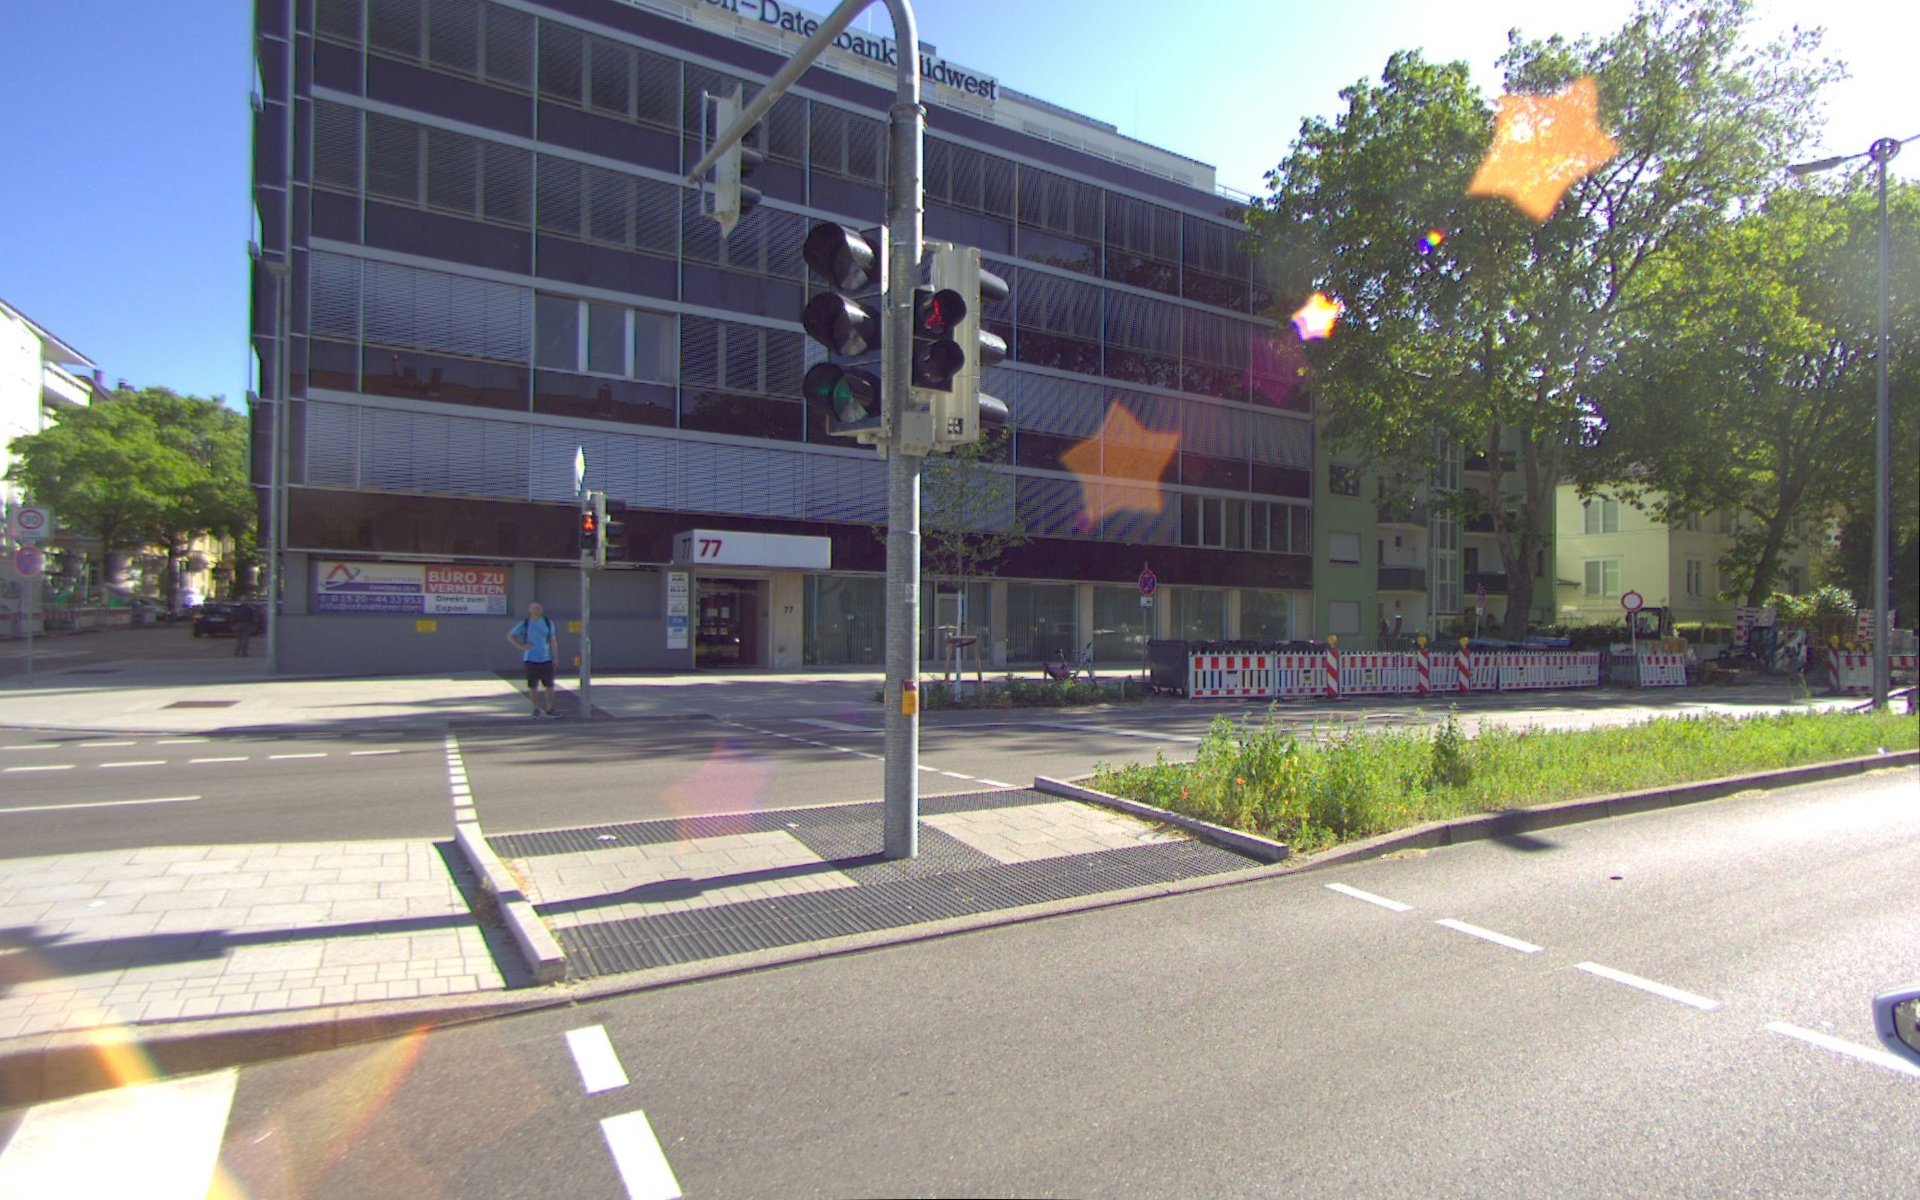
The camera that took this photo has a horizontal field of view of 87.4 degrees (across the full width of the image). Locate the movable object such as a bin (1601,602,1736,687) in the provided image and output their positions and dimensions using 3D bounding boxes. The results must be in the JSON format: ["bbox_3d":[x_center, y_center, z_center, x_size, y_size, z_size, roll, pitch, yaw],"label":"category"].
[{"bbox_3d":[24.685,1.514,34.945,5.299,2.742,2.133,1,-1,-34],"label":"movable object such as a bin"}]

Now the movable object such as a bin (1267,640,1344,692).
[{"bbox_3d":[8.730,1.646,25.397,1.225,1.219,1.389,1,-1,-27],"label":"movable object such as a bin"}]

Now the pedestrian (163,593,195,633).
[{"bbox_3d":[-40.828,0.696,52.530,1.137,2.040,1.443,1,-1,-31],"label":"pedestrian"}]

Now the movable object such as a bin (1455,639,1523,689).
[{"bbox_3d":[15.171,1.813,28.841,1.055,1.355,1.404,1,-1,-29],"label":"movable object such as a bin"}]

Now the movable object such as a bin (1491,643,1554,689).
[{"bbox_3d":[16.397,1.899,29.286,1.523,1.287,0.975,1,-1,-31],"label":"movable object such as a bin"}]

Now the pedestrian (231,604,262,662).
[{"bbox_3d":[-20.811,0.951,29.309,0.693,1.680,0.740,1,-1,-33],"label":"pedestrian"}]

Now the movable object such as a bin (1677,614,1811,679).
[{"bbox_3d":[29.856,1.756,38.204,5.529,2.308,1.986,2,-2,-29],"label":"movable object such as a bin"}]

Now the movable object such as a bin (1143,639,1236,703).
[{"bbox_3d":[5.313,1.617,23.260,1.833,1.407,1.109,1,-1,-29],"label":"movable object such as a bin"}]

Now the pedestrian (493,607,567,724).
[{"bbox_3d":[-6.601,0.984,15.444,0.998,1.733,0.863,1,-1,-23],"label":"pedestrian"}]

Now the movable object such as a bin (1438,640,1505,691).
[{"bbox_3d":[14.353,1.807,28.213,0.924,1.355,1.404,1,-1,-28],"label":"movable object such as a bin"}]

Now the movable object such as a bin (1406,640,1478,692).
[{"bbox_3d":[13.340,1.799,27.822,1.142,1.355,1.404,1,-1,-28],"label":"movable object such as a bin"}]

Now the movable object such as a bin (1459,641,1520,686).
[{"bbox_3d":[15.898,1.892,30.167,1.523,1.287,0.975,1,-1,-31],"label":"movable object such as a bin"}]

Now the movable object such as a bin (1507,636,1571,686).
[{"bbox_3d":[17.684,1.828,30.667,1.608,1.441,1.259,0,-1,34],"label":"movable object such as a bin"}]

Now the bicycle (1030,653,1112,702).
[{"bbox_3d":[2.554,1.750,23.034,1.857,1.051,0.624,1,-1,-30],"label":"bicycle"}]

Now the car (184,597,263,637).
[{"bbox_3d":[-31.445,0.727,42.987,1.973,1.623,3.974,1,-1,-26],"label":"car"}]

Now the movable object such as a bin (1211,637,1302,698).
[{"bbox_3d":[7.241,1.631,24.540,1.833,1.407,1.209,1,-1,-29],"label":"movable object such as a bin"}]
